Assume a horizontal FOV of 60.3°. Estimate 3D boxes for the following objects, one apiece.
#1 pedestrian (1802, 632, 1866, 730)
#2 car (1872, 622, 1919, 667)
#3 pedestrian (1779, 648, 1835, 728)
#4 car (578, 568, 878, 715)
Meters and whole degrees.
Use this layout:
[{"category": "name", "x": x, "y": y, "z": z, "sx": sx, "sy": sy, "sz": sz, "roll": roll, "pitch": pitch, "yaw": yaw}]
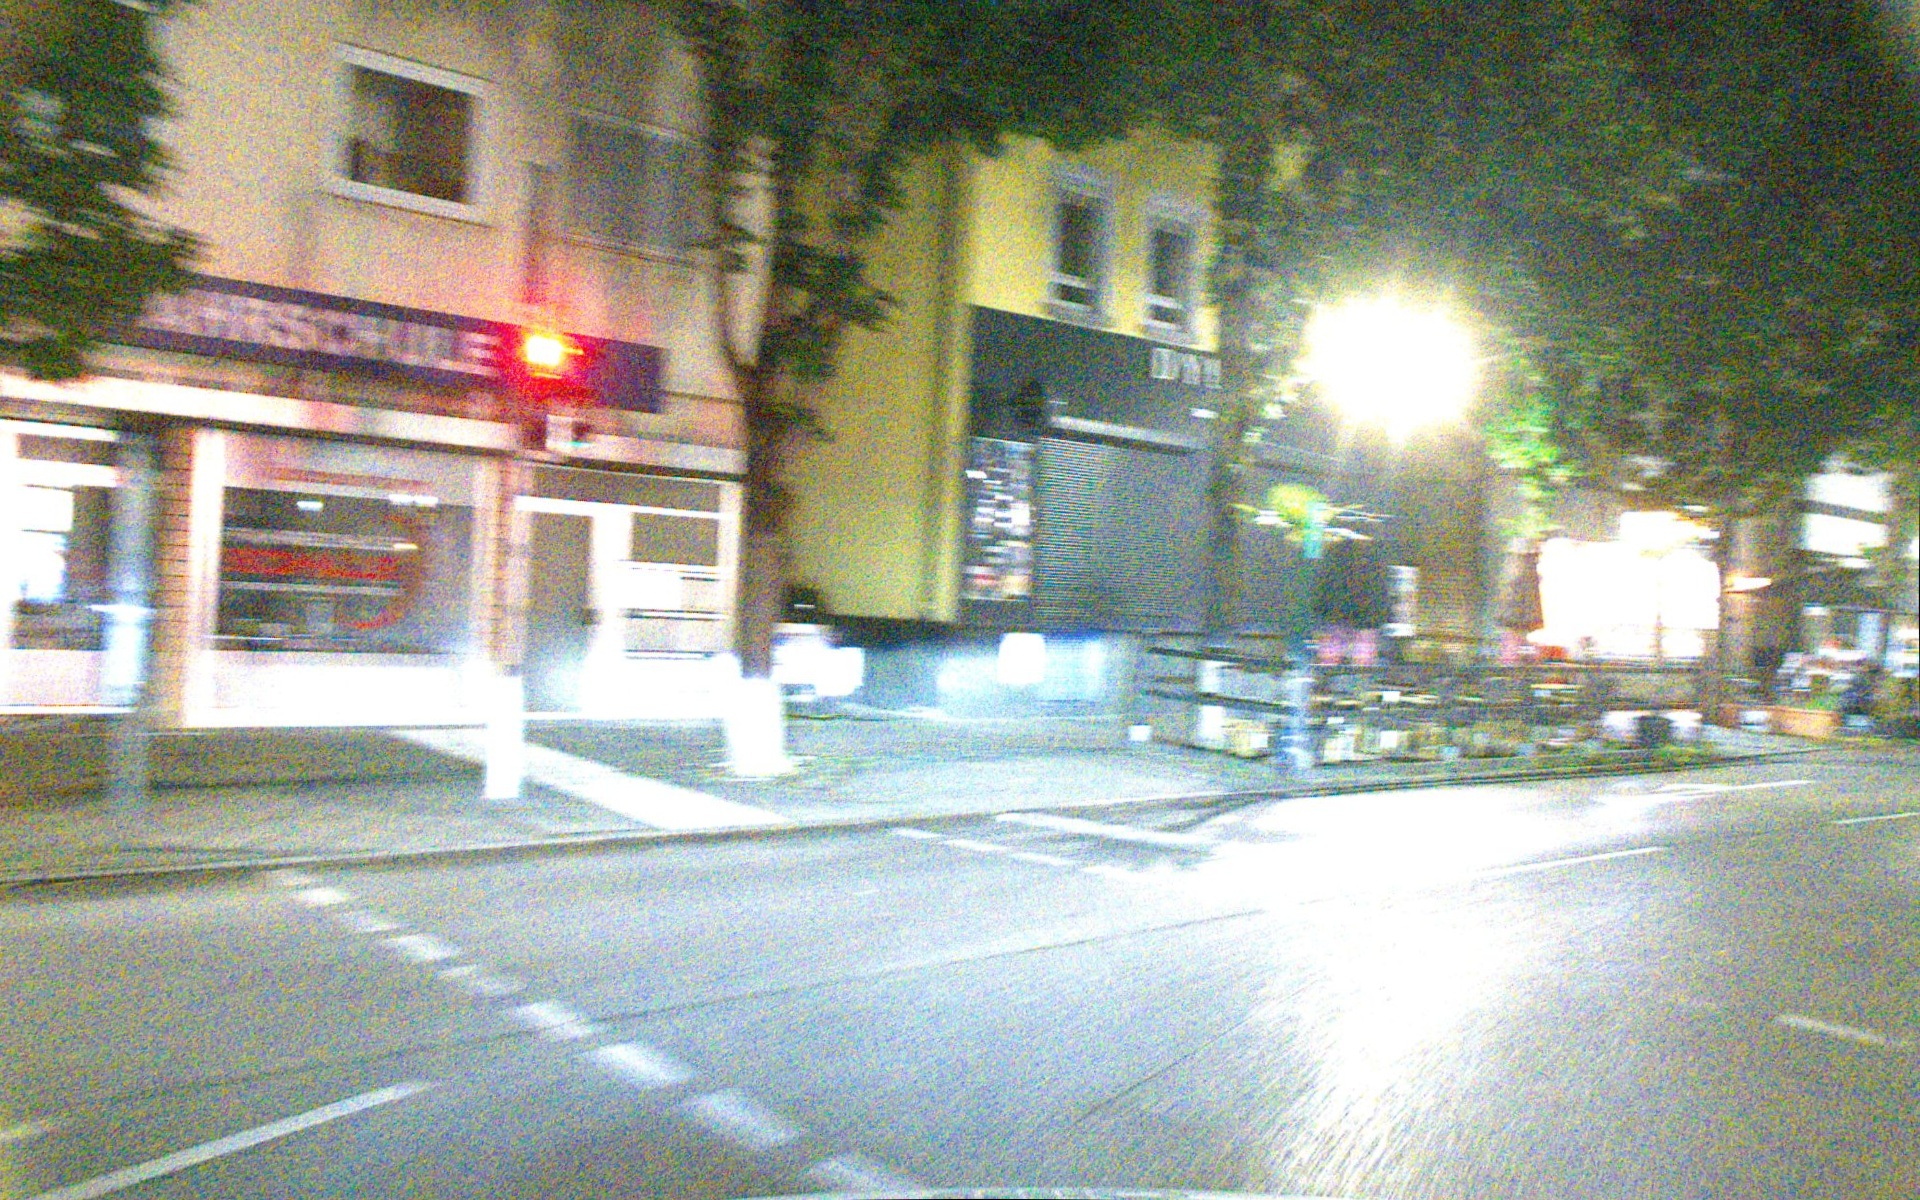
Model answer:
[{"category": "pedestrian", "x": 13.124, "y": 1.206, "z": 24.834, "sx": 0.667, "sy": 1.402, "sz": 0.572, "roll": 2, "pitch": 0, "yaw": 44}, {"category": "car", "x": 34.143, "y": 1.590, "z": 58.690, "sx": 1.699, "sy": 1.479, "sz": 4.003, "roll": 2, "pitch": 1, "yaw": 7}, {"category": "pedestrian", "x": 13.201, "y": 1.361, "z": 25.769, "sx": 0.567, "sy": 1.184, "sz": 0.673, "roll": 2, "pitch": 0, "yaw": 44}, {"category": "car", "x": -2.932, "y": 0.451, "z": 20.324, "sx": 1.803, "sy": 1.553, "sz": 3.942, "roll": 2, "pitch": 1, "yaw": -40}]
